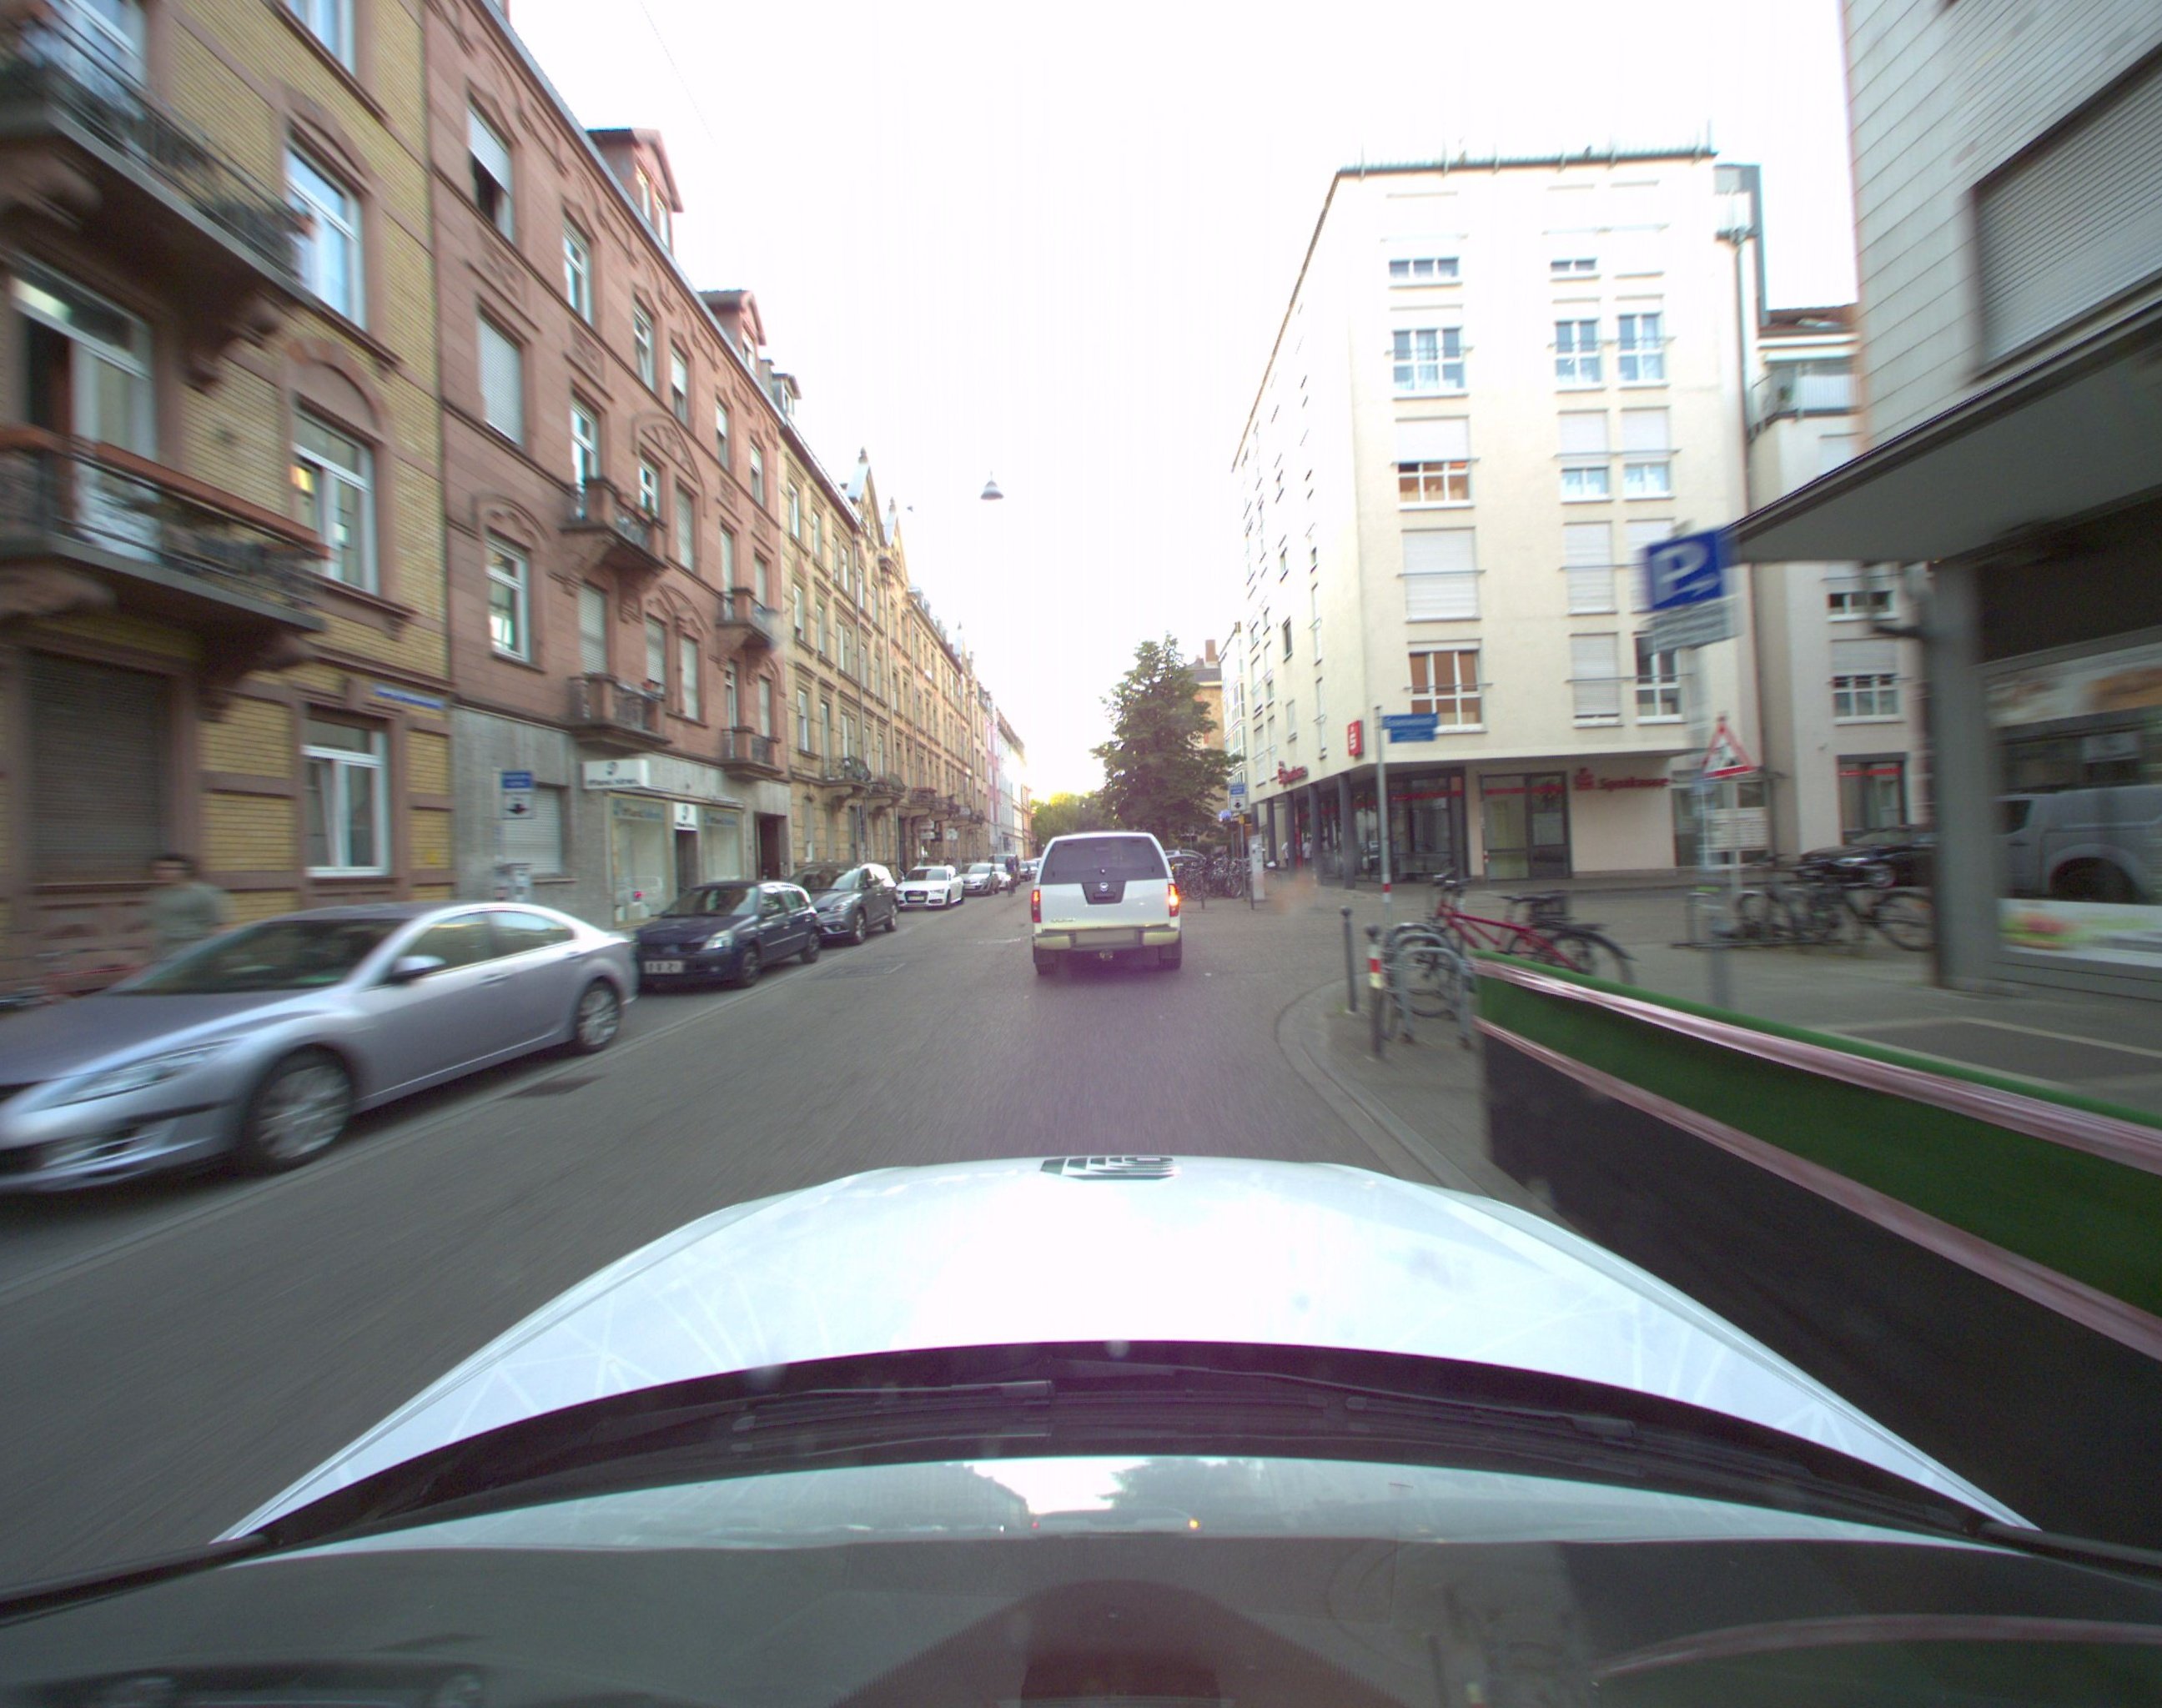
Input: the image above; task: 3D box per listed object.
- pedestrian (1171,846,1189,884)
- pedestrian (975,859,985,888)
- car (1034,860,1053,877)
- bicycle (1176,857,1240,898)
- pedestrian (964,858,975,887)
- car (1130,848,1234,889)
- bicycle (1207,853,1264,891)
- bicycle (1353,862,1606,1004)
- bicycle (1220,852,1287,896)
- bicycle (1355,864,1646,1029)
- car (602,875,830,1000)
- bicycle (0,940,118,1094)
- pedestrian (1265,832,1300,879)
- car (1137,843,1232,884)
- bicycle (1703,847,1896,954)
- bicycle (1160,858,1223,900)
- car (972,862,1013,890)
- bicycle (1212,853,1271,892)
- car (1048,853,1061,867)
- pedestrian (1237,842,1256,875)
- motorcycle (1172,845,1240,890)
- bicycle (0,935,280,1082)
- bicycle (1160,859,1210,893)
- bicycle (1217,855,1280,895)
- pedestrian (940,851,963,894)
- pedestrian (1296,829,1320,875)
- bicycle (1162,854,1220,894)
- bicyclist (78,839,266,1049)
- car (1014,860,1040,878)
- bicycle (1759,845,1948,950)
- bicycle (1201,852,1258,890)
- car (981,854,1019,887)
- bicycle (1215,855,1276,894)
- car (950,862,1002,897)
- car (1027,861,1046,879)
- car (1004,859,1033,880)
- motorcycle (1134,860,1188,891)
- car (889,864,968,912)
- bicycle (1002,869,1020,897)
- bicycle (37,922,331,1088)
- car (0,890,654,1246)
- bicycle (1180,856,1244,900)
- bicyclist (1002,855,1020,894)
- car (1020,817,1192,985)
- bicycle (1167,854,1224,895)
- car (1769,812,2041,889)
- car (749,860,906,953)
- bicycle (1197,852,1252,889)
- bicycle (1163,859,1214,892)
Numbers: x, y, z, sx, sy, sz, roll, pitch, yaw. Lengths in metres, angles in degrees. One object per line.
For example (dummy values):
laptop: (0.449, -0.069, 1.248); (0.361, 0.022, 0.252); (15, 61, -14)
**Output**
pedestrian: (4.736, 0.523, 38.994); (0.626, 1.753, 0.585); (-2, -2, -11)
pedestrian: (-6.312, 1.208, 50.974); (0.604, 1.772, 0.776); (0, 0, -3)
car: (-3.877, 1.509, 84.520); (1.840, 1.659, 4.249); (-3, -1, -2)
bicycle: (3.965, 0.718, 25.551); (1.804, 1.118, 0.706); (-5, -1, -1)
pedestrian: (-6.945, 1.137, 50.647); (0.578, 1.772, 0.996); (0, 0, -3)
car: (4.620, 0.655, 37.708); (4.417, 1.455, 1.776); (-5, 0, -6)
bicycle: (5.085, 0.593, 26.894); (1.715, 1.118, 0.654); (-5, -1, 3)
bicycle: (3.630, 0.729, 7.531); (1.919, 1.134, 0.661); (-6, -1, 38)
bicycle: (4.957, 0.575, 23.469); (1.723, 1.131, 0.576); (-5, -1, -12)
bicycle: (3.336, 0.730, 6.591); (1.919, 1.134, 0.661); (-6, -1, 38)
car: (-5.186, 1.110, 12.142); (1.579, 1.420, 3.698); (-2, 0, 2)
bicycle: (-8.705, 1.312, 6.231); (0.547, 1.123, 1.760); (0, 0, 1)
pedestrian: (7.781, 0.053, 31.446); (0.780, 1.723, 0.902); (-6, 1, -42)
car: (5.073, 0.466, 40.403); (4.385, 1.647, 1.746); (-5, 0, 0)
bicycle: (8.137, 0.507, 9.359); (0.560, 1.067, 1.966); (-4, -2, 6)
bicycle: (3.353, 0.764, 24.761); (1.717, 1.118, 0.706); (-5, -1, -1)
car: (-4.819, 1.186, 44.804); (1.778, 1.423, 4.483); (-1, 0, -1)
bicycle: (5.182, 0.593, 26.323); (1.715, 1.118, 0.654); (-5, -1, 3)
car: (-3.953, 0.943, 120.699); (1.807, 1.977, 4.181); (-1, -1, -3)
pedestrian: (8.970, 0.239, 44.080); (0.725, 1.716, 0.963); (-5, -1, 1)
motorcycle: (4.996, 0.541, 32.699); (2.481, 1.549, 0.824); (-5, -1, 3)
bicycle: (-8.670, 1.366, 7.633); (0.547, 1.037, 1.760); (0, 0, 1)
bicycle: (3.810, 0.813, 29.934); (1.712, 1.031, 0.668); (-7, -1, 3)
bicycle: (5.014, 0.622, 24.494); (1.715, 1.054, 0.654); (-5, -1, 3)
pedestrian: (-5.409, 0.784, 34.110); (0.550, 1.755, 1.026); (-3, -2, 14)
pedestrian: (8.806, -0.093, 31.610); (0.656, 1.723, 0.667); (-3, 1, 28)
bicycle: (3.855, 0.711, 28.554); (1.860, 1.182, 0.744); (-7, -1, 5)
bicyclist: (-8.026, 0.763, 7.234); (0.705, 1.730, 0.843); (-2, -2, 1)
car: (-4.527, 1.238, 68.666); (1.827, 1.458, 4.207); (0, -1, 1)
bicycle: (8.797, 0.474, 9.386); (0.560, 1.067, 1.759); (-4, -2, 6)
bicycle: (5.093, 0.581, 27.976); (1.718, 1.118, 0.653); (-5, -1, -3)
car: (-4.935, 0.994, 50.344); (1.988, 1.924, 4.948); (-1, 0, -2)
bicycle: (5.061, 0.620, 25.166); (1.715, 1.054, 0.654); (-5, -1, 3)
car: (-4.760, 1.143, 37.428); (1.710, 1.457, 4.002); (-1, 0, 2)
car: (-4.266, 1.524, 78.193); (1.631, 1.565, 3.780); (-2, 0, 0)
car: (-4.527, 1.143, 59.597); (1.731, 1.418, 4.778); (-1, -1, 0)
motorcycle: (3.287, 0.896, 33.607); (2.061, 1.078, 0.660); (-5, -1, -15)
car: (-5.098, 1.092, 27.813); (1.752, 1.412, 4.509); (-2, 0, 1)
bicycle: (-2.994, 1.213, 34.946); (0.643, 1.081, 2.165); (-4, 0, -4)
bicycle: (-7.995, 1.286, 7.400); (0.705, 1.196, 1.742); (-2, -2, 2)
car: (-5.228, 1.073, 5.939); (1.717, 1.420, 4.582); (-2, -1, 1)
bicycle: (3.836, 0.693, 23.898); (1.715, 1.118, 0.707); (-5, -1, 3)
bicyclist: (-3.007, 0.877, 34.962); (0.644, 1.620, 0.917); (-4, 0, -5)
car: (0.377, 0.554, 11.838); (1.903, 1.853, 5.273); (-1, -1, 2)
bicycle: (3.907, 0.688, 27.712); (1.777, 1.182, 0.736); (-7, -2, 11)
car: (18.736, -0.114, 18.689); (4.212, 1.433, 1.796); (-3, 2, 5)
car: (-5.222, 1.005, 17.439); (1.846, 1.633, 4.446); (-2, 0, 1)
bicycle: (5.052, 0.580, 28.698); (1.718, 1.118, 0.653); (-5, -1, -3)
bicycle: (4.025, 0.796, 30.543); (1.765, 1.022, 0.565); (-7, -1, 3)
